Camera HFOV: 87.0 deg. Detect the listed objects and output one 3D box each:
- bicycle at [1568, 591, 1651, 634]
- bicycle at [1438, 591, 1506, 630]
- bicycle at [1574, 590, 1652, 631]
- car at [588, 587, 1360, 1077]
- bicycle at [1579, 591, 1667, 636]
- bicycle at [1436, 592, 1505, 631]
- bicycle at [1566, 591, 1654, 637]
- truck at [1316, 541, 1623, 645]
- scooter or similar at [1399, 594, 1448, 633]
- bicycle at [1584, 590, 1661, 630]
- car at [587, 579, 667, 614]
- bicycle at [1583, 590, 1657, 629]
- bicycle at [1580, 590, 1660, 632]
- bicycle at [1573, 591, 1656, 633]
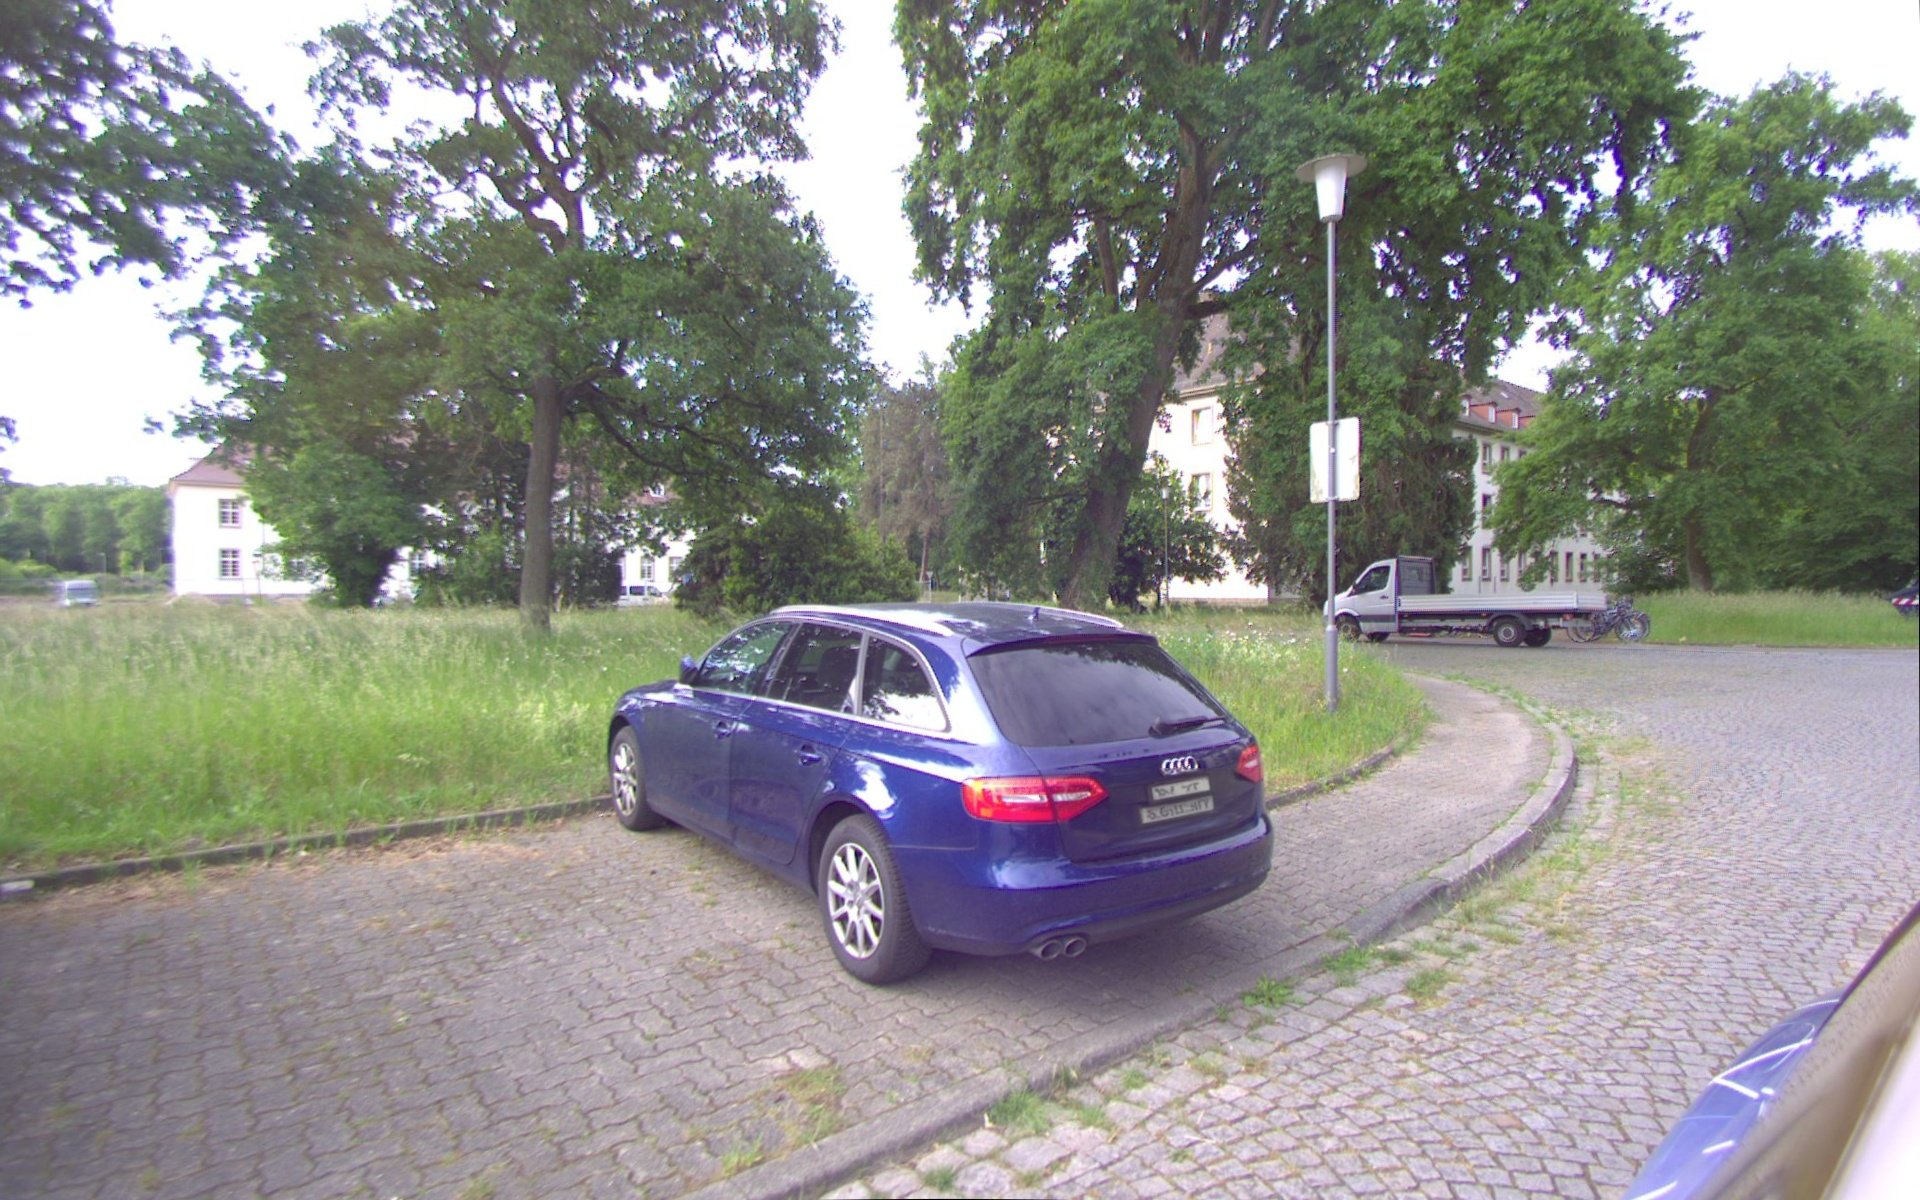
[{"bbox_3d":[18.531,0.364,28.923,1.920,1.185,0.484,-2,-1,26],"label":"bicycle"},{"bbox_3d":[15.806,0.316,31.269,1.840,1.185,0.484,-1,0,26],"label":"bicycle"},{"bbox_3d":[19.849,0.332,30.809,1.922,1.185,0.483,-2,-1,30],"label":"bicycle"},{"bbox_3d":[-0.376,0.685,5.440,1.891,1.457,4.370,-1,2,-37],"label":"car"},{"bbox_3d":[18.231,0.370,27.855,1.918,1.185,0.484,-2,-1,24],"label":"bicycle"},{"bbox_3d":[15.503,0.349,30.755,1.840,1.185,0.484,-1,0,26],"label":"bicycle"},{"bbox_3d":[17.649,0.386,27.517,1.918,1.185,0.484,-2,-1,24],"label":"bicycle"},{"bbox_3d":[13.116,-0.187,26.712,1.957,2.396,7.081,1,0,-39],"label":"truck"},{"bbox_3d":[14.234,0.416,31.116,0.406,1.185,1.307,-1,-1,-40],"label":"scooter or similar"},{"bbox_3d":[20.356,0.319,31.140,1.922,1.185,0.483,-2,-1,30],"label":"bicycle"},{"bbox_3d":[-22.851,-0.296,69.506,4.852,2.333,1.922,-1,1,-39],"label":"car"},{"bbox_3d":[21.015,0.304,32.262,1.927,1.185,0.531,-2,-1,35],"label":"bicycle"},{"bbox_3d":[19.483,0.341,29.923,1.922,1.185,0.483,-2,-1,30],"label":"bicycle"},{"bbox_3d":[18.956,0.354,29.357,1.920,1.185,0.484,-2,-1,26],"label":"bicycle"}]
